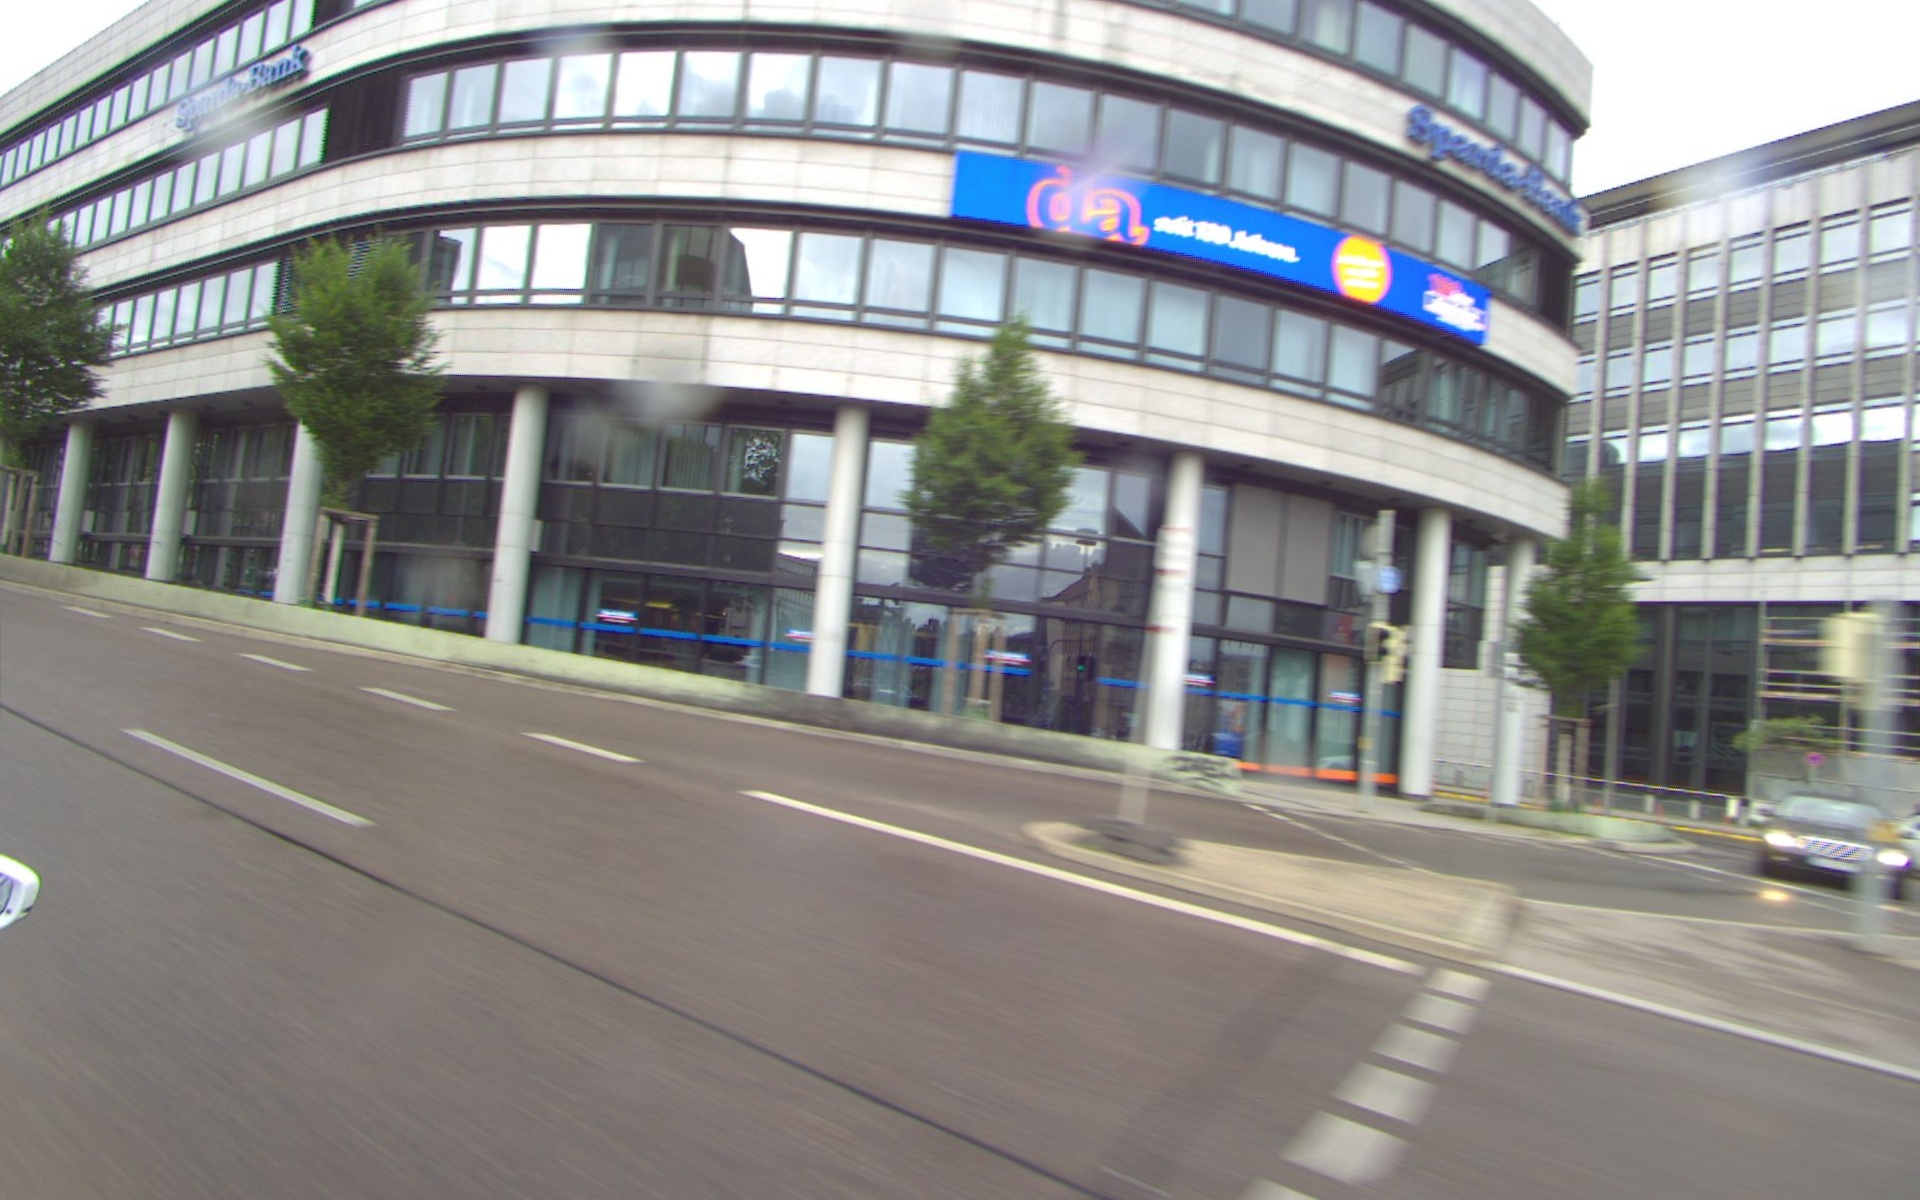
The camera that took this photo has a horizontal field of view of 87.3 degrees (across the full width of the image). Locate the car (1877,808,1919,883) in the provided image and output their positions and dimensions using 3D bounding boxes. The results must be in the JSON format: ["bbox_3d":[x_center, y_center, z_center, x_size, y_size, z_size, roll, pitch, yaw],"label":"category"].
[{"bbox_3d":[21.137,5.243,20.386,1.831,1.456,4.012,5,-6,10],"label":"car"}]

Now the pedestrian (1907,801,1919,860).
[{"bbox_3d":[29.912,7.175,31.170,0.556,1.765,0.548,10,-2,-31],"label":"pedestrian"}]

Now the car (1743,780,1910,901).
[{"bbox_3d":[14.657,3.939,16.961,1.843,1.457,4.695,3,-6,43],"label":"car"}]

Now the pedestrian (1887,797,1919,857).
[{"bbox_3d":[30.936,7.383,32.640,0.935,1.765,0.897,10,-2,-31],"label":"pedestrian"}]
